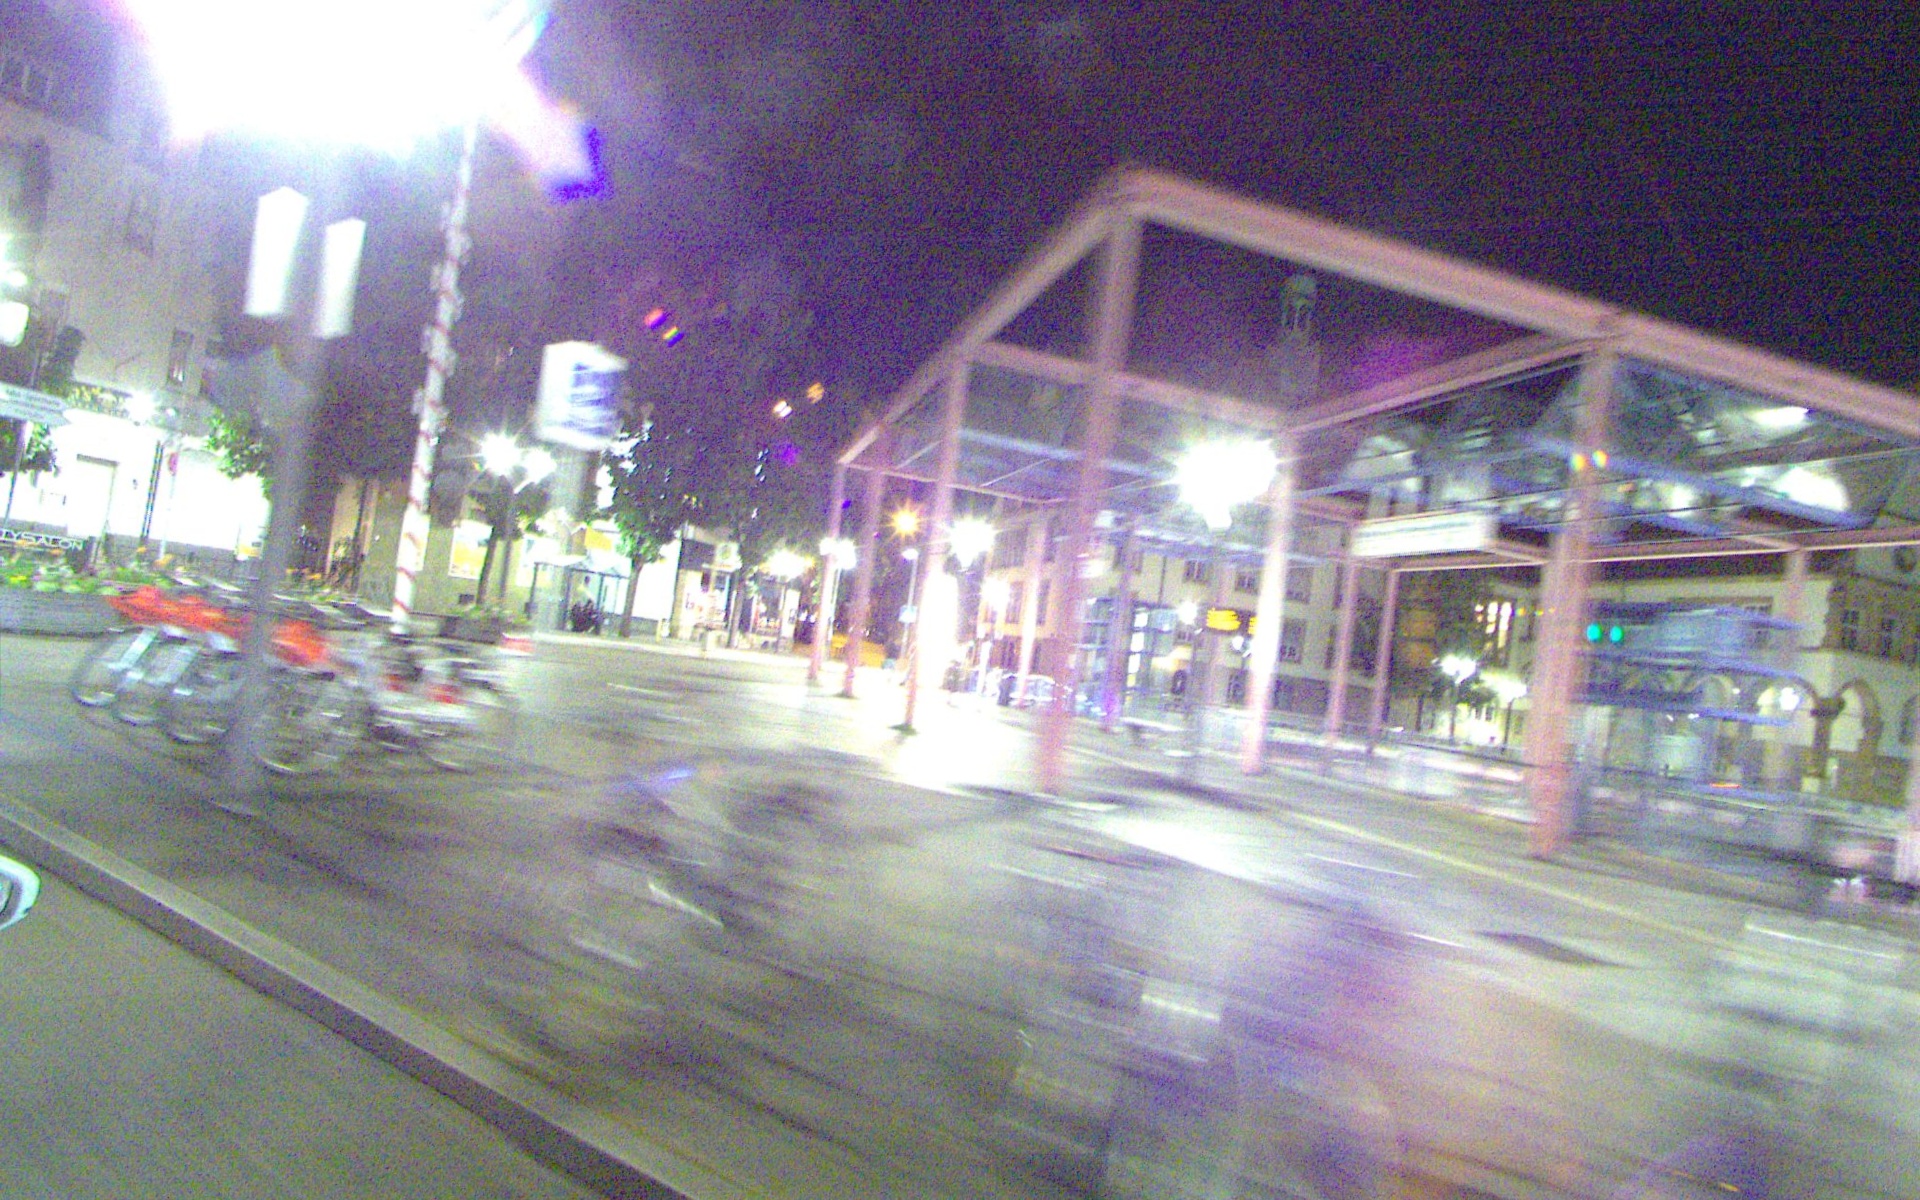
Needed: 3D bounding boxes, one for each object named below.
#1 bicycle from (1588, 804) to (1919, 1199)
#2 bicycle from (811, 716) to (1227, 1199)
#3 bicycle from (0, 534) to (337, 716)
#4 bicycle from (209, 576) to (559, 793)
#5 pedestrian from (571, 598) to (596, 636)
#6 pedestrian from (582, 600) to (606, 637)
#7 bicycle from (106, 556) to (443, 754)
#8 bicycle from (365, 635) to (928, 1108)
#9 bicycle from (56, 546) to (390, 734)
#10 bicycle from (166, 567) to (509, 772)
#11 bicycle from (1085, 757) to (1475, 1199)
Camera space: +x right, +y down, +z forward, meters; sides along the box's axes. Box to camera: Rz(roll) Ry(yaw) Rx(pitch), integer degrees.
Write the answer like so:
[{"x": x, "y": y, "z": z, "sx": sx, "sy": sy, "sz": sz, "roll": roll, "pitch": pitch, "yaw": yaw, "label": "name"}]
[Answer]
[{"x": 2.338, "y": 1.280, "z": 2.855, "sx": 0.675, "sy": 1.153, "sz": 1.775, "roll": 7, "pitch": -3, "yaw": 28, "label": "bicycle"}, {"x": 0.340, "y": 1.016, "z": 3.386, "sx": 0.618, "sy": 1.147, "sz": 1.794, "roll": 7, "pitch": -3, "yaw": 26, "label": "bicycle"}, {"x": -6.001, "y": 0.247, "z": 7.754, "sx": 0.746, "sy": 1.164, "sz": 1.788, "roll": 7, "pitch": -3, "yaw": 27, "label": "bicycle"}, {"x": -3.614, "y": 0.574, "z": 6.497, "sx": 0.573, "sy": 1.164, "sz": 1.776, "roll": 7, "pitch": -3, "yaw": 33, "label": "bicycle"}, {"x": -14.065, "y": 0.641, "z": 37.583, "sx": 0.506, "sy": 1.313, "sz": 0.466, "roll": 7, "pitch": -2, "yaw": 32, "label": "pedestrian"}, {"x": -13.818, "y": 0.702, "z": 37.989, "sx": 0.506, "sy": 1.313, "sz": 0.466, "roll": 7, "pitch": -2, "yaw": 32, "label": "pedestrian"}, {"x": -4.701, "y": 0.427, "z": 7.066, "sx": 0.572, "sy": 1.164, "sz": 1.778, "roll": 7, "pitch": -3, "yaw": 27, "label": "bicycle"}, {"x": -0.934, "y": 0.814, "z": 3.621, "sx": 0.712, "sy": 1.147, "sz": 1.871, "roll": 7, "pitch": -3, "yaw": 26, "label": "bicycle"}, {"x": -5.291, "y": 0.345, "z": 7.373, "sx": 0.603, "sy": 1.164, "sz": 1.778, "roll": 7, "pitch": -3, "yaw": 27, "label": "bicycle"}, {"x": -4.114, "y": 0.510, "z": 6.813, "sx": 0.573, "sy": 1.164, "sz": 1.776, "roll": 7, "pitch": -3, "yaw": 33, "label": "bicycle"}, {"x": 0.961, "y": 1.071, "z": 2.710, "sx": 0.631, "sy": 1.147, "sz": 1.660, "roll": 7, "pitch": -3, "yaw": 28, "label": "bicycle"}]
